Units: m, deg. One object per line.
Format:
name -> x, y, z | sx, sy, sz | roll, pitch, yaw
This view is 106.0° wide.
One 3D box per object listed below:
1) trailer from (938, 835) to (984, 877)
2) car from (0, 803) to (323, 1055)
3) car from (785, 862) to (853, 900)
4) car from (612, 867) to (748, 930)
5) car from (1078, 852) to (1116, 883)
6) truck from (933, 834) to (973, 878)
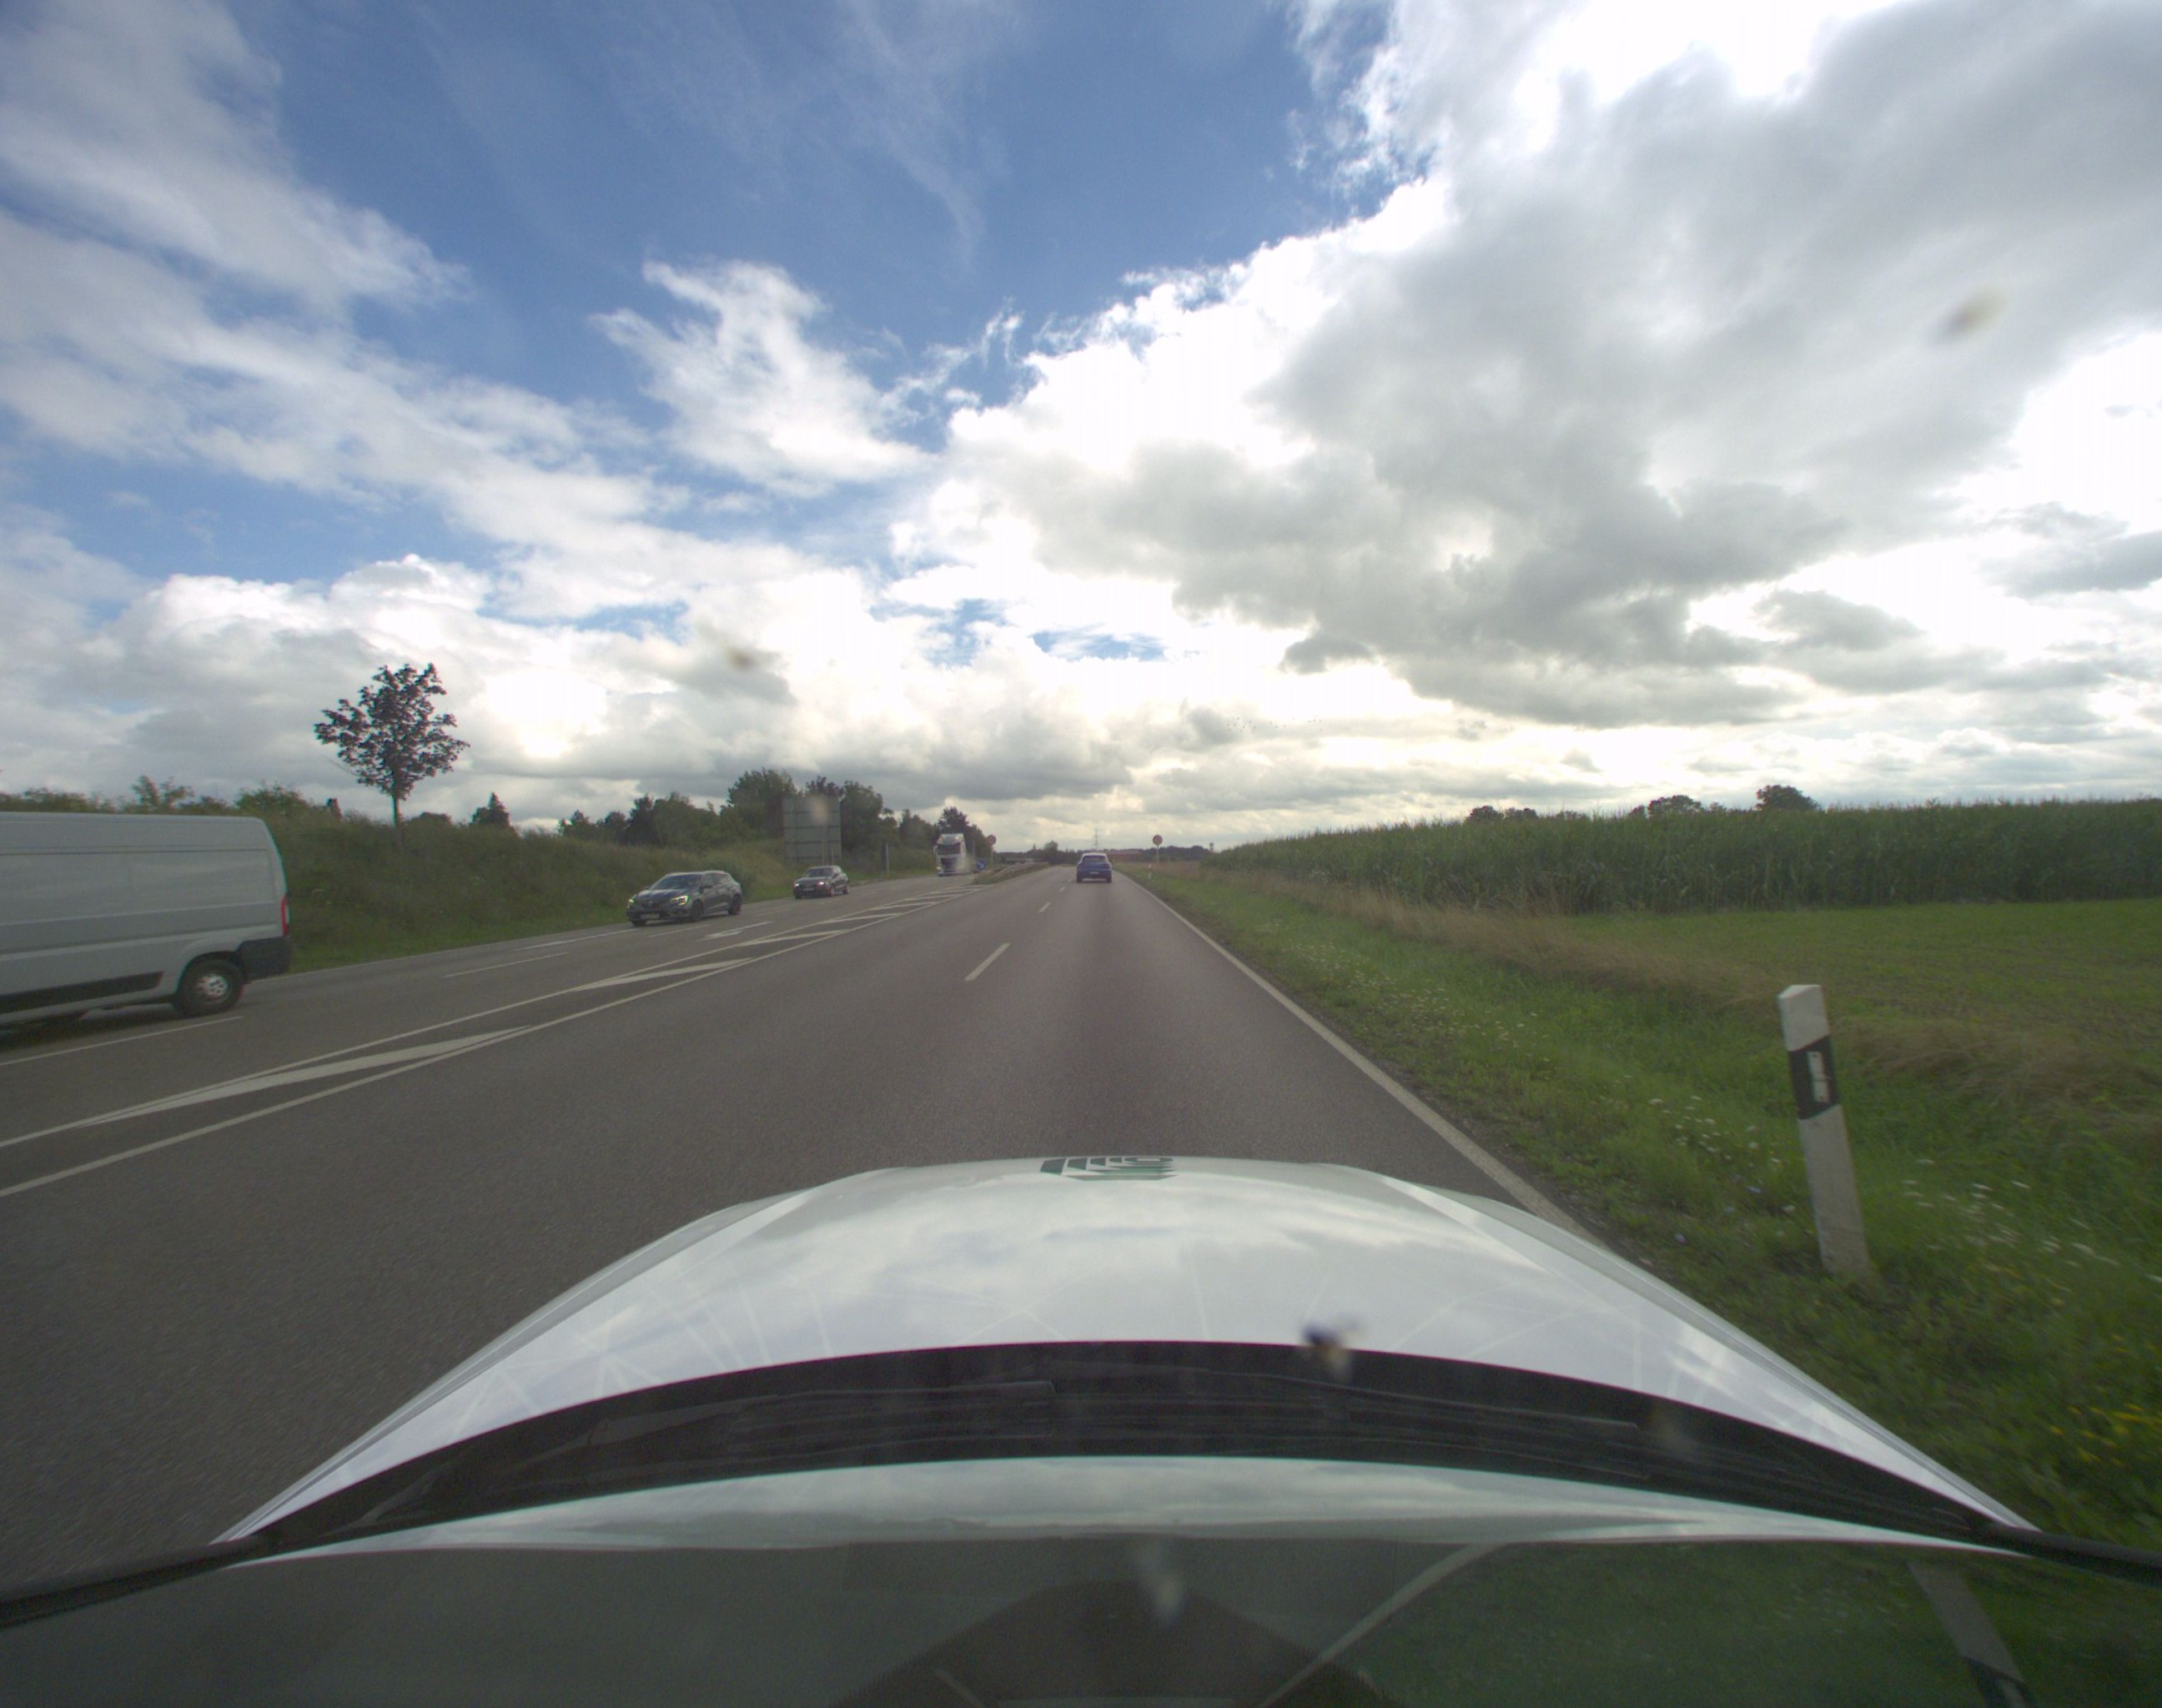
trailer -> -12.113, 0.141, 83.650 | 2.766, 3.947, 12.982 | -1, 0, 0
car -> -11.535, 0.777, 8.399 | 2.027, 2.439, 5.634 | -3, 0, 0
car -> -11.990, 1.199, 37.560 | 1.727, 1.530, 4.193 | -3, 0, 0
car -> -11.731, 1.233, 24.227 | 1.727, 1.530, 4.548 | -3, 0, 0
car -> 0.828, 0.729, 45.755 | 2.027, 1.660, 4.542 | 0, 0, 0
truck -> -12.090, 0.162, 77.291 | 2.794, 3.997, 5.286 | -1, 0, 0
